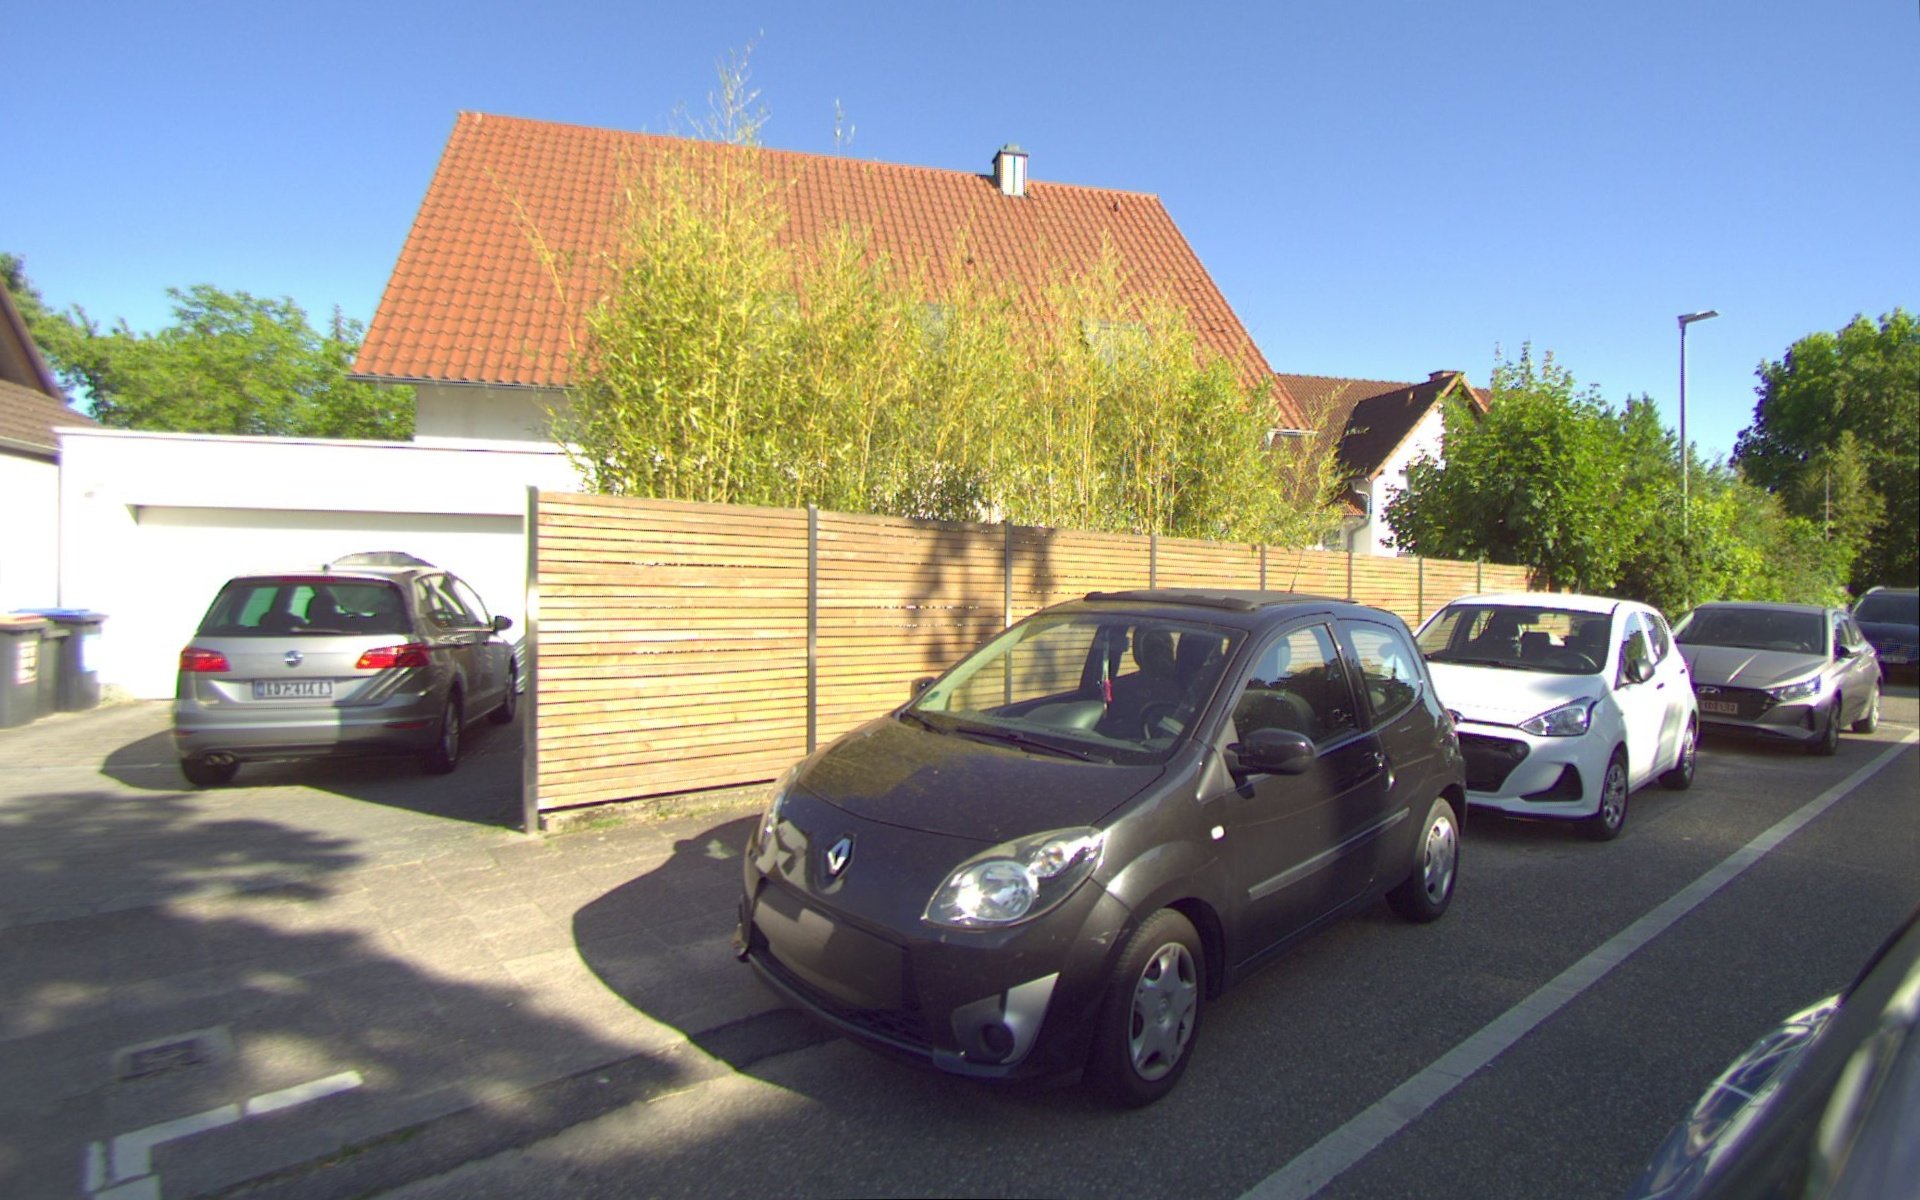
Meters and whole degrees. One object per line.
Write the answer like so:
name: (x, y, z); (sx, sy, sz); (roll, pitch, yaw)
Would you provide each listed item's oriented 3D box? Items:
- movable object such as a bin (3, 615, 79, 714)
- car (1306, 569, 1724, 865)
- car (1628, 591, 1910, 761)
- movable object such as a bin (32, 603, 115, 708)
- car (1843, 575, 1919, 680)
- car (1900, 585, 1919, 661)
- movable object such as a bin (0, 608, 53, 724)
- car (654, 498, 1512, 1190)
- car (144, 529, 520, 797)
movable object such as a bin: (-9.162, 0.635, 10.095); (0.431, 0.954, 0.365); (1, 0, -14)
car: (4.254, 0.629, 7.496); (3.754, 1.621, 1.725); (0, 0, -45)
car: (8.892, 0.681, 11.023); (3.820, 1.512, 1.646); (0, 1, -40)
movable object such as a bin: (-9.227, 0.566, 10.551); (0.475, 1.056, 0.488); (1, 0, -14)
car: (18.349, 0.474, 19.301); (4.353, 1.836, 1.746); (0, 1, -42)
car: (23.328, 0.530, 23.391); (4.315, 1.697, 1.767); (0, 1, -40)
movable object such as a bin: (-9.072, 0.610, 9.529); (0.611, 1.056, 0.513); (1, 0, -14)
car: (0.828, 0.560, 4.292); (3.754, 1.621, 1.657); (0, 0, -45)
car: (-4.941, 0.368, 8.611); (1.675, 1.706, 4.009); (1, 1, -16)
